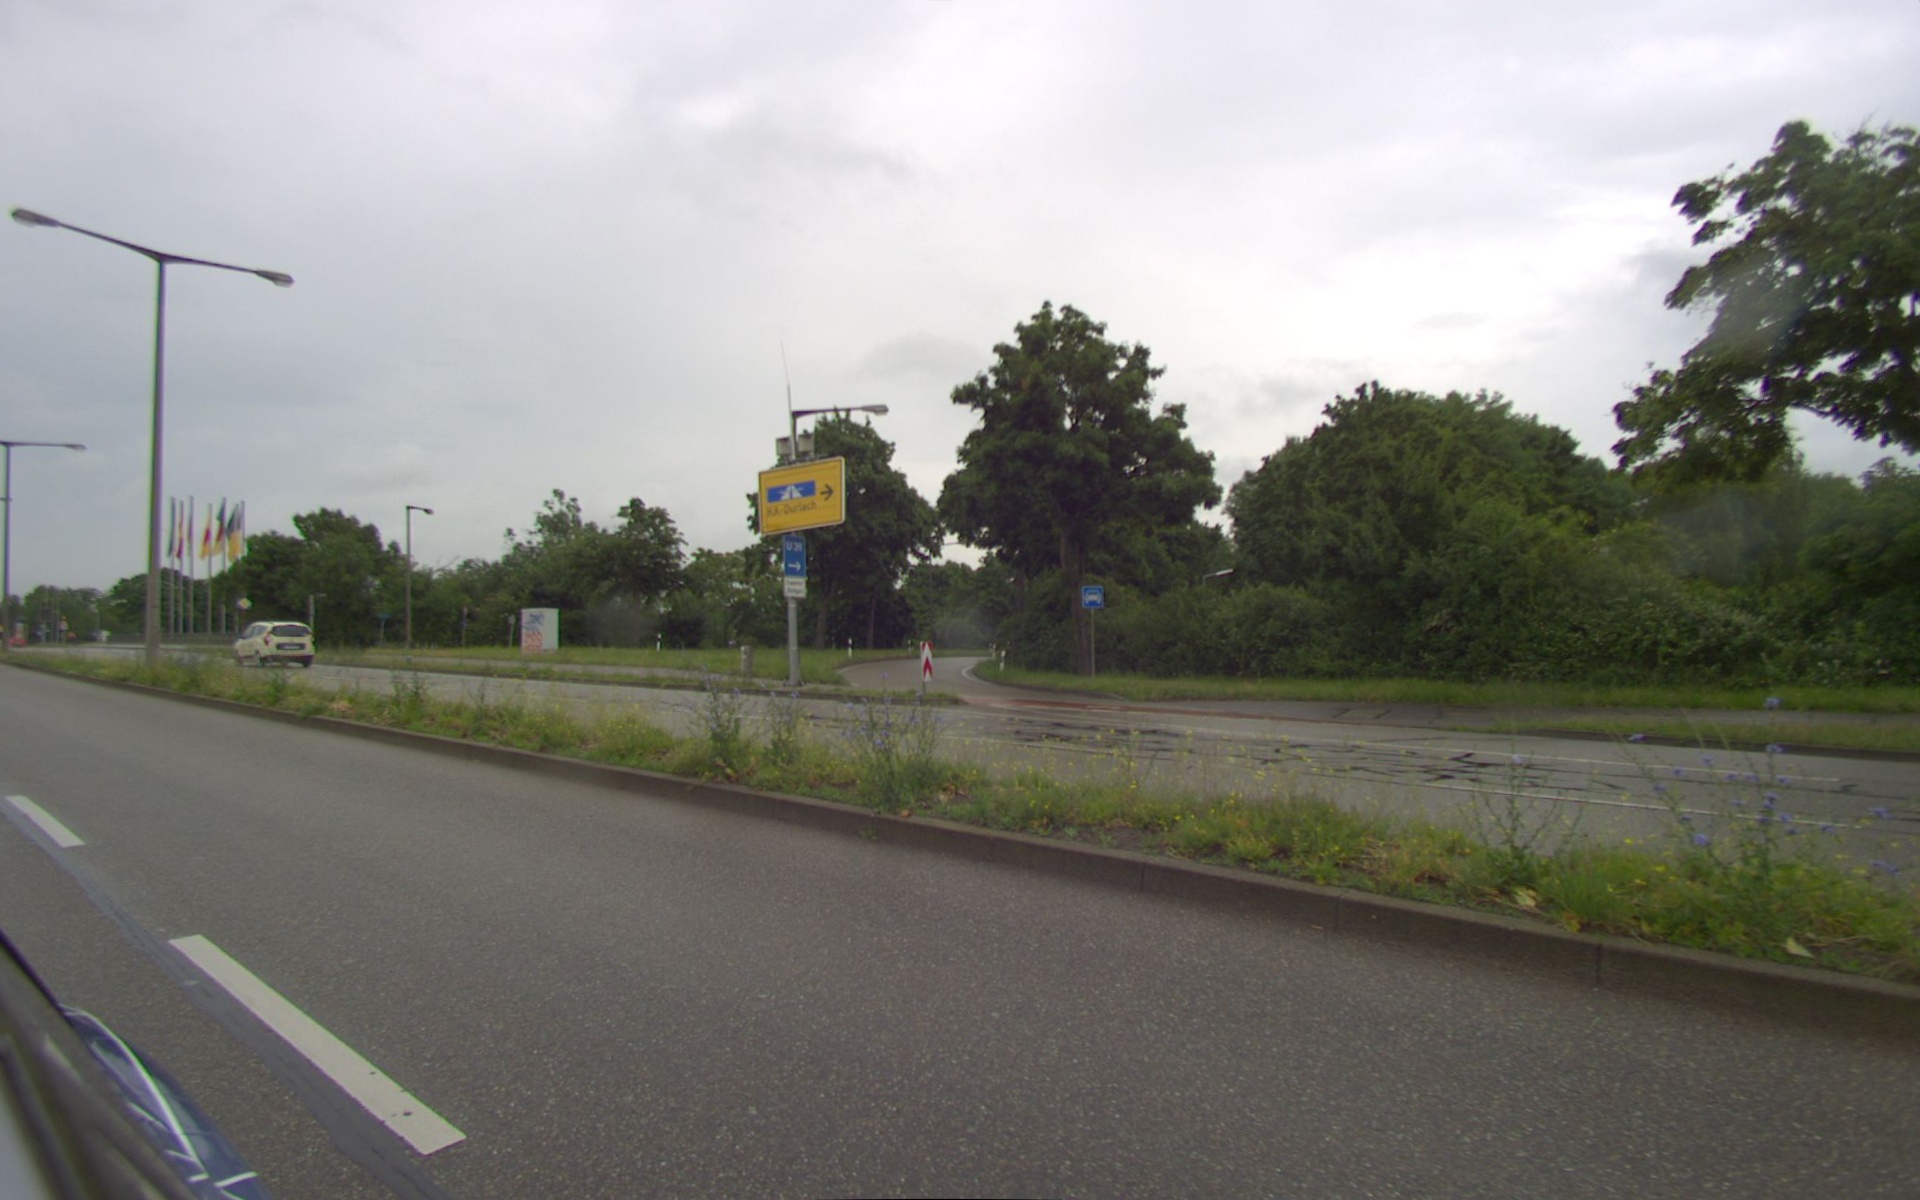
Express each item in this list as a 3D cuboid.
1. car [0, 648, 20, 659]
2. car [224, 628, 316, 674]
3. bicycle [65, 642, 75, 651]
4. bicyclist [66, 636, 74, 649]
[{"bbox_3d":[-123.085,6.944,131.087,3.555,1.459,1.643,-2,-4,42],"label":"car"},{"bbox_3d":[-25.916,1.904,37.946,4.489,1.642,1.689,-2,-4,41],"label":"car"},{"bbox_3d":[-106.938,5.536,121.564,2.000,1.041,0.603,-2,-1,42],"label":"bicycle"},{"bbox_3d":[-106.937,5.057,121.574,1.002,1.511,0.613,-2,-1,42],"label":"bicyclist"}]
